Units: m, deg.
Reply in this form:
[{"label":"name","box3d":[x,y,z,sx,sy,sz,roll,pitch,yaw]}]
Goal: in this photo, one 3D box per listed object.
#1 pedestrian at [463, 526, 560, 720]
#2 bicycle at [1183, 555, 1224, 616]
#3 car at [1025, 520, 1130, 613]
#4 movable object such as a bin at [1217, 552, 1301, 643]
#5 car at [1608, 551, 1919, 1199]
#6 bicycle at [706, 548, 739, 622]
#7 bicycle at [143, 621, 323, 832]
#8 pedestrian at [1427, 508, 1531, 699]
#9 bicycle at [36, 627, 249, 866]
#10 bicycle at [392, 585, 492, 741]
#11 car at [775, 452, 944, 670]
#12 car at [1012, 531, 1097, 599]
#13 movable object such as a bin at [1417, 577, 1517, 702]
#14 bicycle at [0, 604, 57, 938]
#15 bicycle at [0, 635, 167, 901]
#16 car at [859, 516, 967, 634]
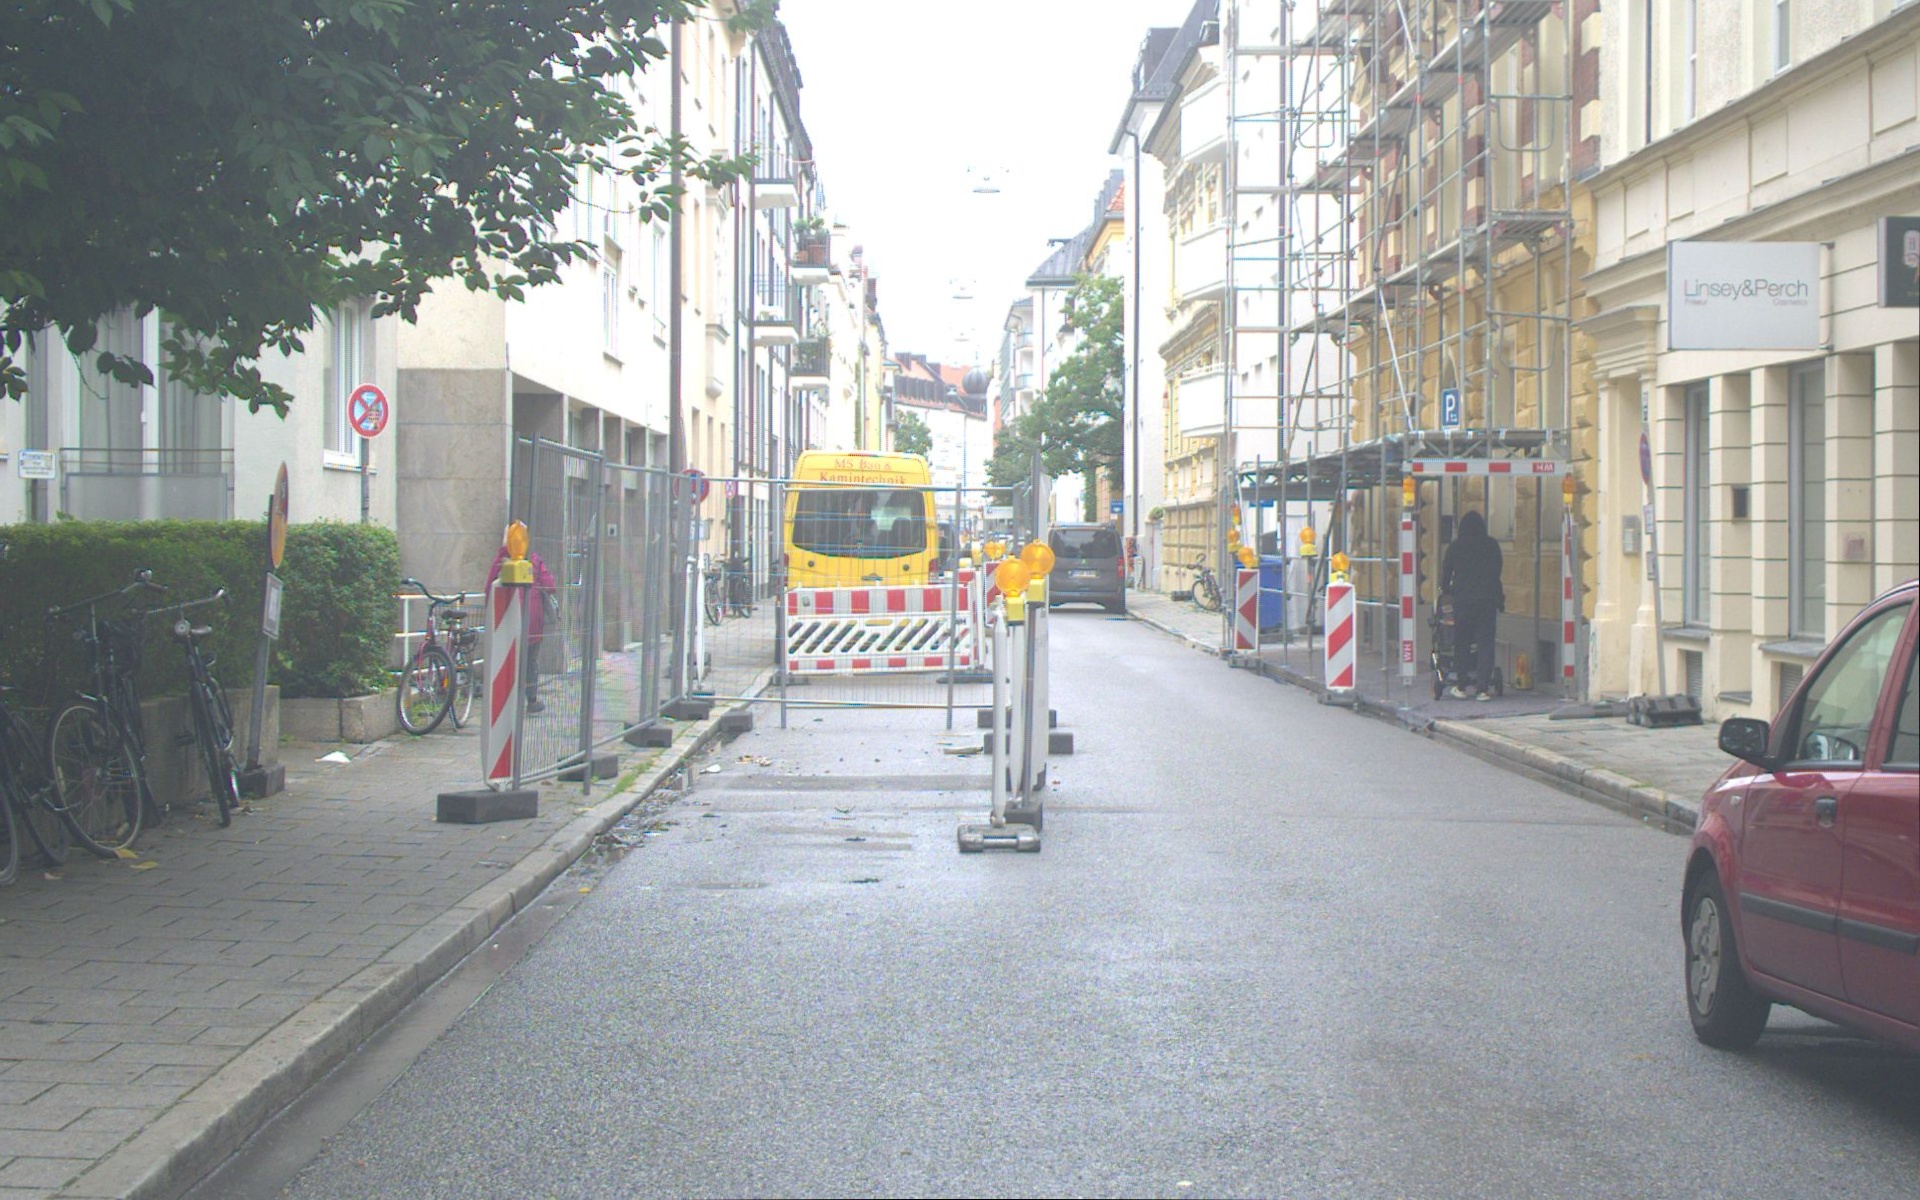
[{"label":"pedestrian","box3d":[-3.607,0.177,27.684,0.638,1.526,0.747,-1,1,2]},{"label":"bicycle","box3d":[4.881,-0.296,68.976,0.638,1.149,1.915,-2,2,0]},{"label":"car","box3d":[2.554,-0.770,75.871,1.993,1.925,4.660,2,1,-1]},{"label":"movable object such as a bin","box3d":[4.660,-0.045,53.461,1.087,1.341,1.317,-2,1,12]},{"label":"car","box3d":[3.086,0.662,9.724,1.772,1.519,4.066,2,1,1]},{"label":"bicycle","box3d":[-4.065,-0.261,58.759,0.381,1.184,2.136,1,2,-8]},{"label":"bicycle","box3d":[-3.661,0.611,17.425,0.443,0.975,1.816,3,0,1]},{"label":"pedestrian","box3d":[4.908,0.024,32.572,0.729,1.746,0.988,-3,1,-1]},{"label":"bicycle","box3d":[-3.672,0.632,15.559,0.443,0.975,1.853,3,0,1]},{"label":"bicycle","box3d":[-3.808,0.448,25.365,0.377,1.059,1.597,6,1,0]},{"label":"car","box3d":[-1.254,-0.521,43.895,1.993,2.570,6.737,0,1,-1]},{"label":"car","box3d":[2.329,-0.889,85.698,1.894,1.635,4.322,0,1,-1]},{"label":"movable object such as a bin","box3d":[4.906,0.376,33.316,0.729,1.137,0.988,-4,1,-1]},{"label":"bicycle","box3d":[-3.539,0.585,11.531,0.488,1.147,1.699,3,0,1]},{"label":"bicycle","box3d":[-3.681,0.652,13.998,0.436,0.975,1.699,3,0,1]},{"label":"car","box3d":[-0.801,-0.457,58.949,1.727,1.891,5.509,-1,1,-1]}]
